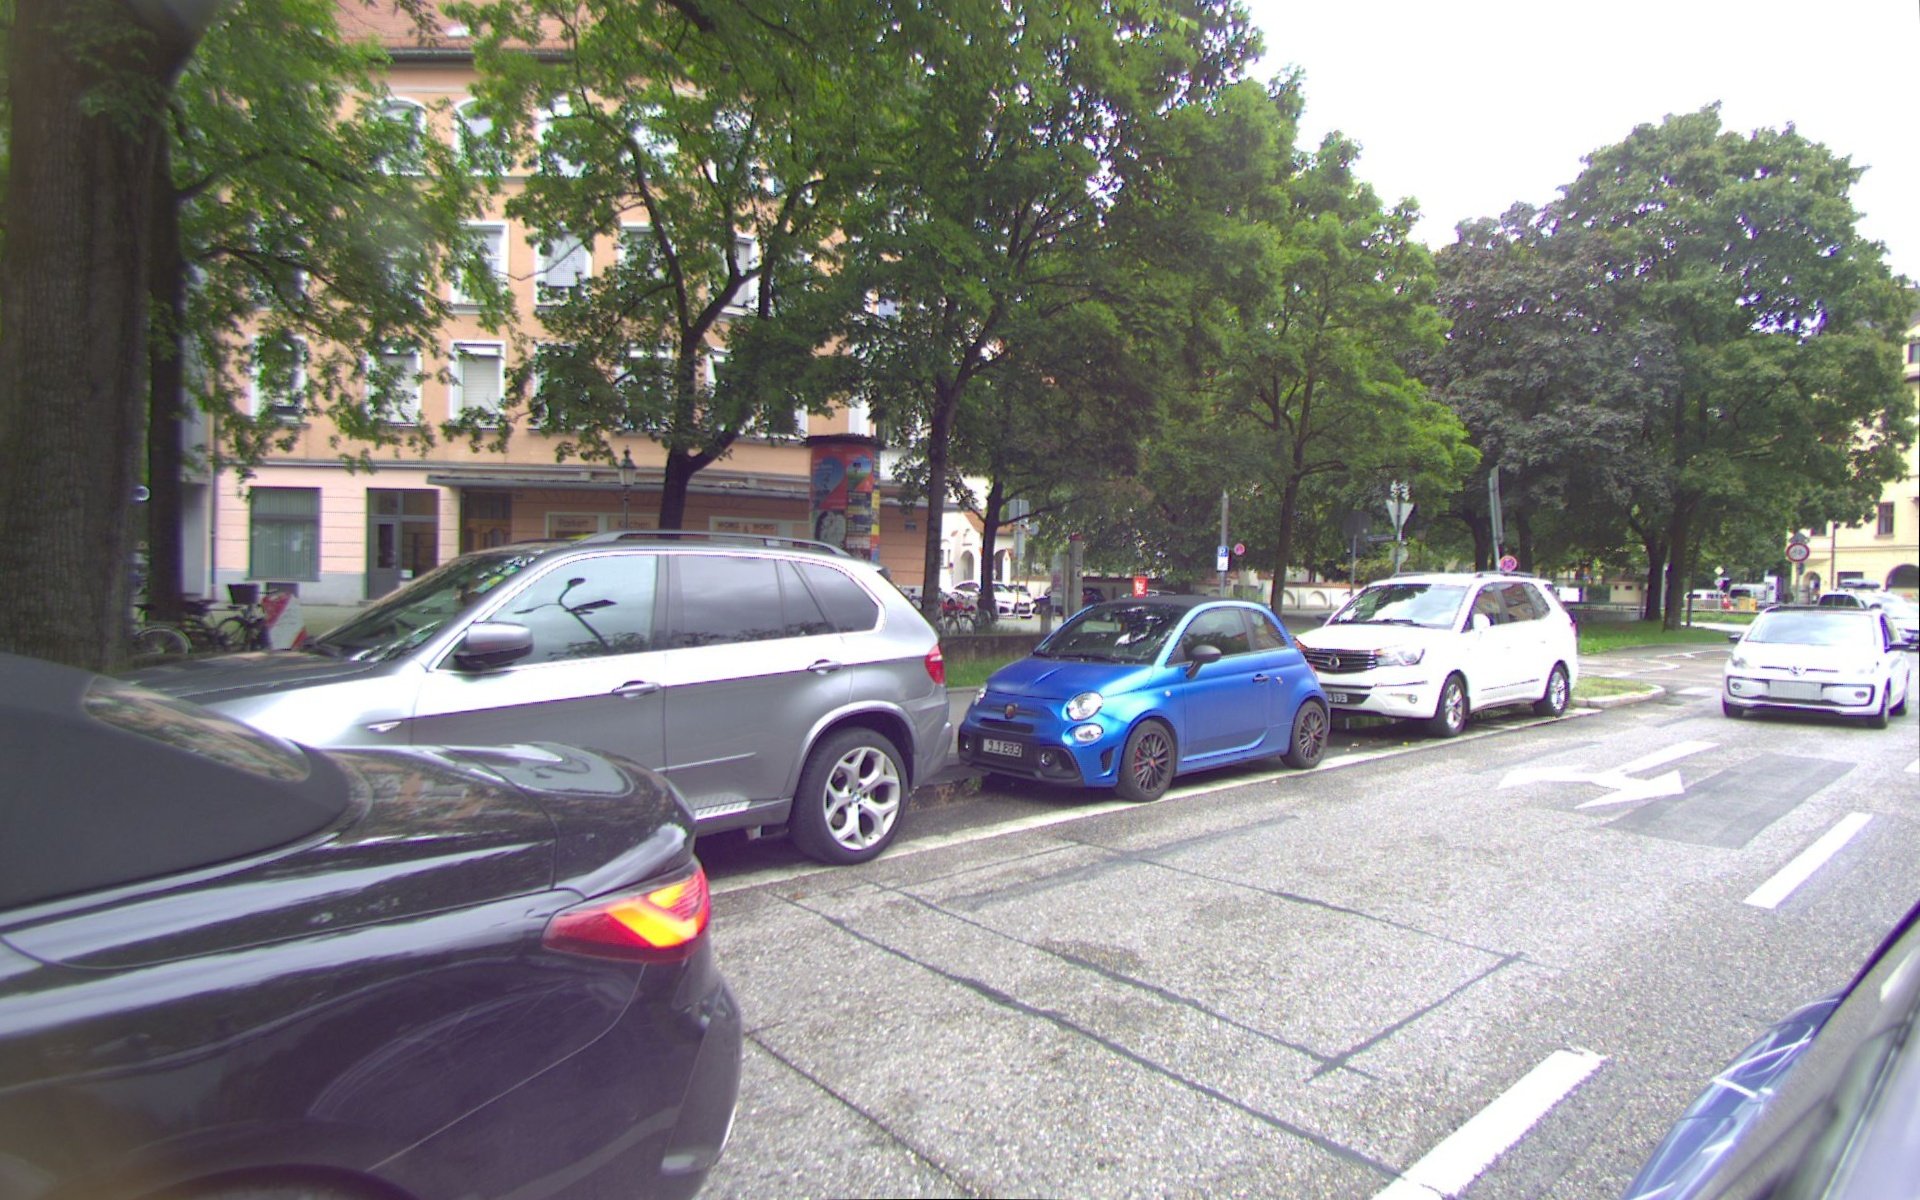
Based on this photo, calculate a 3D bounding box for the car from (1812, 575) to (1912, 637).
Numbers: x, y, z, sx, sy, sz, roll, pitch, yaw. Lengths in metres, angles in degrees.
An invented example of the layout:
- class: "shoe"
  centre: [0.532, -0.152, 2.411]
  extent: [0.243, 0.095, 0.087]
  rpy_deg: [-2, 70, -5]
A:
- class: "car"
  centre: [37.482, 0.199, 42.200]
  extent: [1.896, 2.380, 4.898]
  rpy_deg: [2, 1, 27]

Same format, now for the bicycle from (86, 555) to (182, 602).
- class: "bicycle"
  centre: [-23.285, -0.603, 28.541]
  extent: [2.204, 1.306, 0.507]
  rpy_deg: [0, 0, -4]

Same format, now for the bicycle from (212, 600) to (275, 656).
- class: "bicycle"
  centre: [-9.960, 0.368, 14.095]
  extent: [0.312, 0.732, 1.181]
  rpy_deg: [0, 0, -15]

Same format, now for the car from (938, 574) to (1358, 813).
- class: "car"
  centre: [1.693, 0.611, 8.475]
  extent: [3.597, 1.568, 1.523]
  rpy_deg: [0, 1, -41]

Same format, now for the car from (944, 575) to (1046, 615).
- class: "car"
  centre: [1.285, -0.207, 39.271]
  extent: [1.824, 1.485, 4.446]
  rpy_deg: [0, 0, -31]

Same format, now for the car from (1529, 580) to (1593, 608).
- class: "car"
  centre: [45.148, -0.468, 76.092]
  extent: [1.959, 2.039, 4.007]
  rpy_deg: [0, 0, -10]

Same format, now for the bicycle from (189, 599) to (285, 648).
- class: "bicycle"
  centre: [-11.147, 0.360, 15.620]
  extent: [1.154, 0.732, 0.320]
  rpy_deg: [0, 0, -19]

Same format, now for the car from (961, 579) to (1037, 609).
- class: "car"
  centre: [1.965, -0.302, 52.395]
  extent: [1.824, 1.485, 4.446]
  rpy_deg: [0, 0, -31]

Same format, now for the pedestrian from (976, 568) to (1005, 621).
- class: "pedestrian"
  centre: [0.928, -0.167, 30.355]
  extent: [0.632, 1.571, 0.603]
  rpy_deg: [0, 0, -35]

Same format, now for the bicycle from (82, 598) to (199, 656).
- class: "bicycle"
  centre: [-10.771, 0.342, 13.328]
  extent: [1.155, 0.732, 0.319]
  rpy_deg: [-1, 0, -30]

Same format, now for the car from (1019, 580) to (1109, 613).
- class: "car"
  centre: [4.745, -0.175, 46.848]
  extent: [1.824, 1.485, 4.446]
  rpy_deg: [0, 0, -31]

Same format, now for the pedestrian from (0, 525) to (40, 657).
- class: "pedestrian"
  centre: [-14.333, -0.133, 15.128]
  extent: [0.617, 1.926, 0.630]
  rpy_deg: [0, 0, -13]

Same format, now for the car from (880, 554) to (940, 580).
- class: "car"
  centre: [-3.070, -1.954, 61.424]
  extent: [1.824, 1.485, 4.447]
  rpy_deg: [0, 0, -31]

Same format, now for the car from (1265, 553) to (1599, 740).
- class: "car"
  centre: [5.966, 0.442, 12.471]
  extent: [4.935, 1.879, 1.847]
  rpy_deg: [0, 1, -41]

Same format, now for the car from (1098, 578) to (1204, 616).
- class: "car"
  centre: [7.882, -0.147, 42.116]
  extent: [1.824, 1.485, 4.446]
  rpy_deg: [0, 0, -31]

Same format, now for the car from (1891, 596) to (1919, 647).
- class: "car"
  centre: [31.129, 0.677, 32.334]
  extent: [3.820, 1.549, 1.647]
  rpy_deg: [0, 2, -42]

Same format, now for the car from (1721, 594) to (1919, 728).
- class: "car"
  centre: [11.540, 0.700, 13.399]
  extent: [3.557, 1.484, 1.647]
  rpy_deg: [0, 2, -42]

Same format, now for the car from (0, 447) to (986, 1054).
- class: "car"
  centre: [-2.114, 0.429, 5.235]
  extent: [1.933, 1.842, 4.480]
  rpy_deg: [2, 2, 45]

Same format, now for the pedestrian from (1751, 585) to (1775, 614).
- class: "pedestrian"
  centre: [57.644, -0.017, 72.639]
  extent: [0.860, 2.039, 1.009]
  rpy_deg: [0, 0, -9]

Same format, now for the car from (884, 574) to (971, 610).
- class: "car"
  centre: [-1.467, -0.341, 43.580]
  extent: [1.824, 1.485, 4.447]
  rpy_deg: [0, 0, -31]

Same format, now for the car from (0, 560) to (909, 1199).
- class: "car"
  centre: [-2.457, 0.633, 1.206]
  extent: [4.714, 1.407, 1.727]
  rpy_deg: [0, 1, -41]

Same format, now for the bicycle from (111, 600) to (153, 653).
- class: "bicycle"
  centre: [-12.008, 0.373, 14.697]
  extent: [0.313, 0.732, 1.179]
  rpy_deg: [0, 0, -32]
